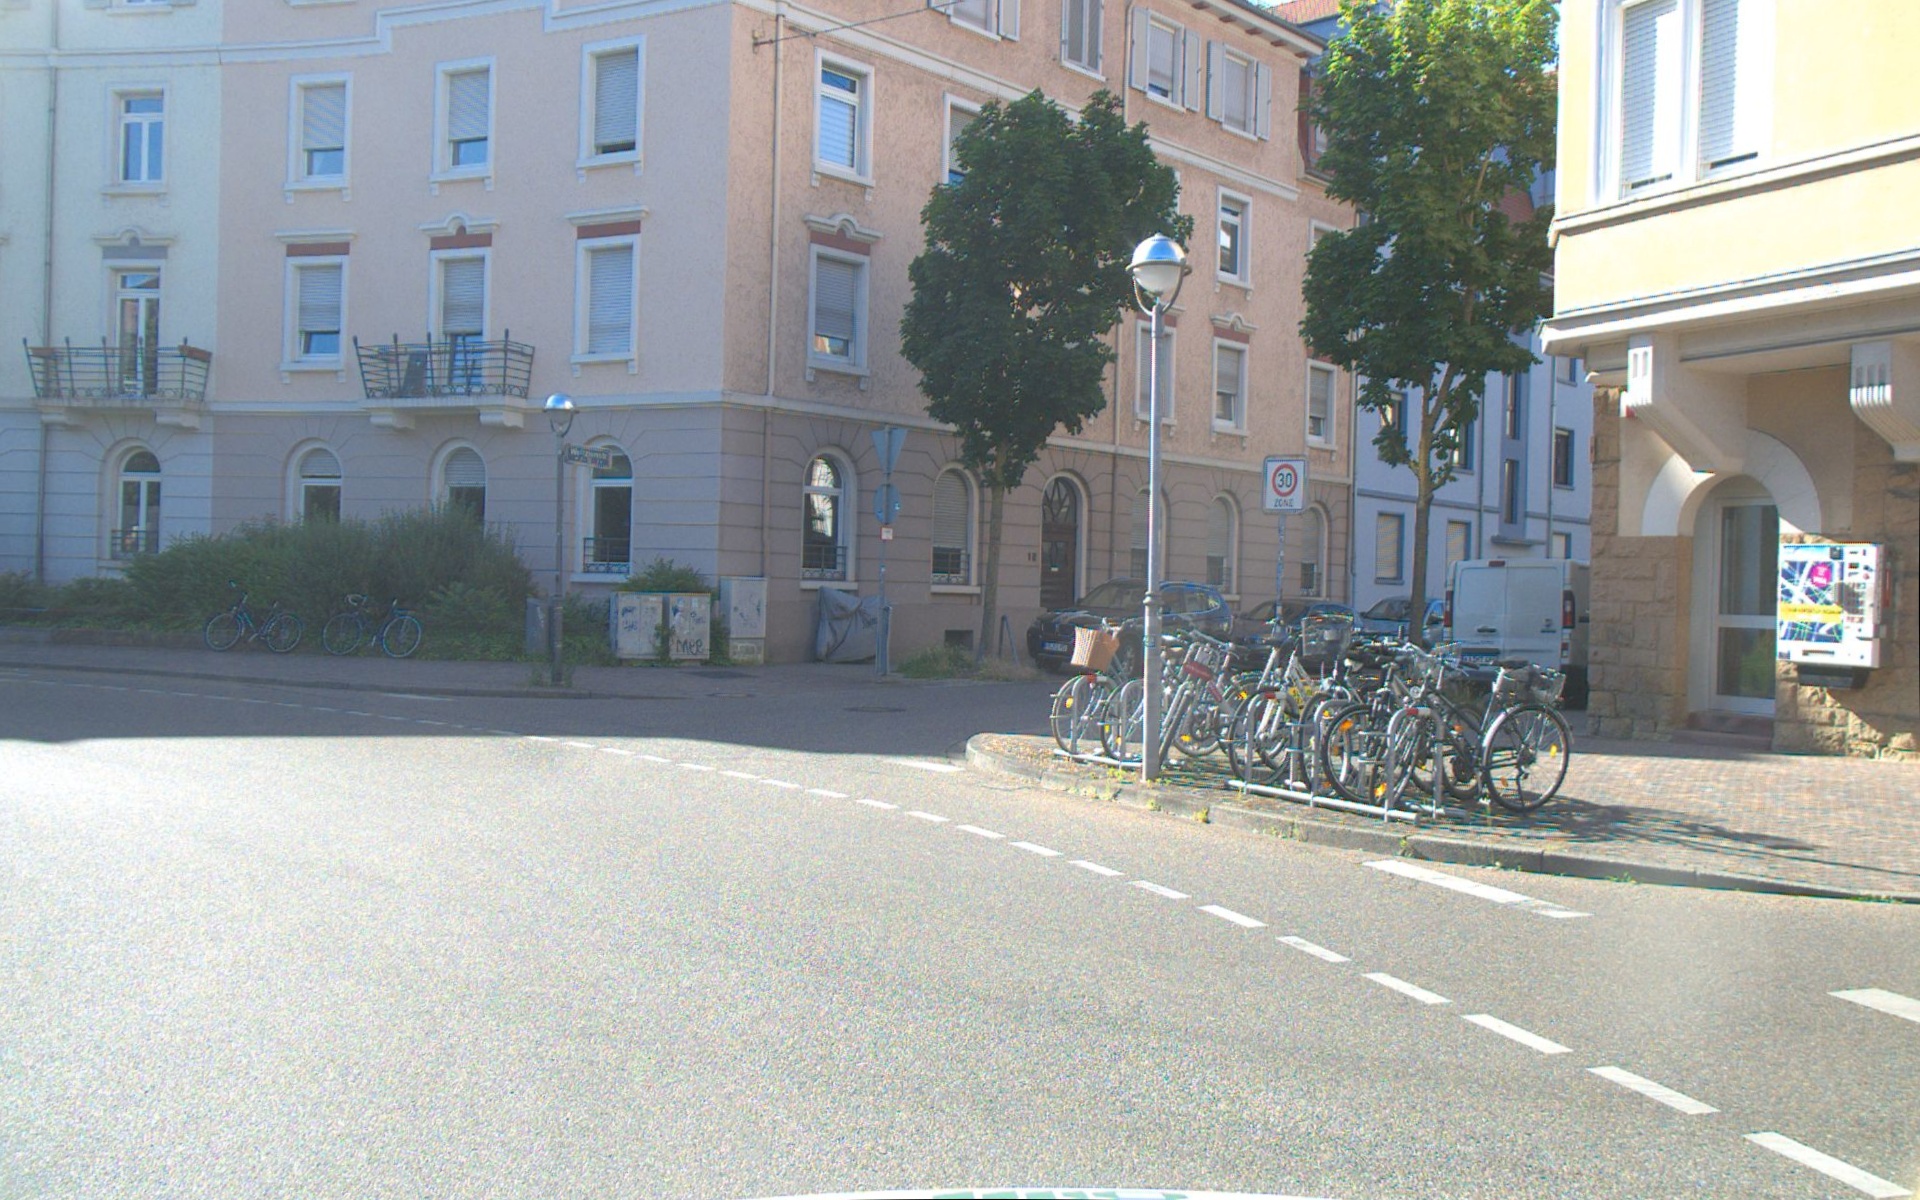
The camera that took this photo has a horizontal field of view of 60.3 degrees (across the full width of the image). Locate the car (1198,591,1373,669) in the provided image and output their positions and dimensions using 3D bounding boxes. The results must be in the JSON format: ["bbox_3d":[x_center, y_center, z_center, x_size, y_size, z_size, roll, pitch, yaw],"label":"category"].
[{"bbox_3d":[6.493,0.590,32.768,1.674,1.436,3.636,1,0,45],"label":"car"}]

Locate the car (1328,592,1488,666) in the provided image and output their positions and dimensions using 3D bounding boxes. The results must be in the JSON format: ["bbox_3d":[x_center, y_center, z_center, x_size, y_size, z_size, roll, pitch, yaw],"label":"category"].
[{"bbox_3d":[9.960,0.637,36.639,1.674,1.512,3.974,1,0,45],"label":"car"}]

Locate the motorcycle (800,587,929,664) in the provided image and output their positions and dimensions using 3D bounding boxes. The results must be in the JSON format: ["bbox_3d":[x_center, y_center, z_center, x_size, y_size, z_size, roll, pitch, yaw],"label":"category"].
[{"bbox_3d":[-1.645,0.427,28.759,0.927,1.241,2.138,3,2,45],"label":"motorcycle"}]

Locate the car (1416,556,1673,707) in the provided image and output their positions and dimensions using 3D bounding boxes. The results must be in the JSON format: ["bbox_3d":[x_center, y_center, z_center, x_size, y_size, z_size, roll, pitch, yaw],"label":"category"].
[{"bbox_3d":[8.461,0.421,23.705,2.101,1.942,4.539,1,0,38],"label":"car"}]

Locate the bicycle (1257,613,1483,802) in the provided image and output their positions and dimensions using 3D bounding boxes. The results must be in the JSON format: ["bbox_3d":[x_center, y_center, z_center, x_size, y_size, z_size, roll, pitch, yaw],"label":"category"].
[{"bbox_3d":[2.814,0.707,11.293,1.674,1.212,0.447,1,0,-32],"label":"bicycle"}]

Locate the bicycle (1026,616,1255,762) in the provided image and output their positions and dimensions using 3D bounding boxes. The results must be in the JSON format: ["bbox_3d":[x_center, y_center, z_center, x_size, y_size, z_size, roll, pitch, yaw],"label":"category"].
[{"bbox_3d":[1.514,0.725,13.788,1.841,1.149,0.693,2,-2,-30],"label":"bicycle"}]

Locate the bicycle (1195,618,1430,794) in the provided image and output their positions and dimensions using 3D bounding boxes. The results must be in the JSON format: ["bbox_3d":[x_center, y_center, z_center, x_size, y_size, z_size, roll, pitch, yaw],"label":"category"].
[{"bbox_3d":[2.518,0.725,11.760,1.674,1.165,0.610,1,0,-32],"label":"bicycle"}]

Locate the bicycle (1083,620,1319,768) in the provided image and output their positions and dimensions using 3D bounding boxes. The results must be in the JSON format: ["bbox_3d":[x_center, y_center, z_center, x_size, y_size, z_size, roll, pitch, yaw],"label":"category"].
[{"bbox_3d":[1.922,0.733,13.138,1.848,1.109,0.532,1,0,-24],"label":"bicycle"}]

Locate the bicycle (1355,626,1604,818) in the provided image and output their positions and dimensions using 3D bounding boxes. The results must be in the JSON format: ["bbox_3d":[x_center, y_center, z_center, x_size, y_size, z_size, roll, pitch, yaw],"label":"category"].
[{"bbox_3d":[3.328,0.749,10.543,1.694,1.143,0.479,1,0,-29],"label":"bicycle"}]

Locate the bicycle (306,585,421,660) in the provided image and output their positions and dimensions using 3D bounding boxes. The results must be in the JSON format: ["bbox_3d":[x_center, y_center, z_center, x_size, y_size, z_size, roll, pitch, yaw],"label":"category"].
[{"bbox_3d":[-9.240,0.341,25.637,1.645,1.107,0.503,1,2,11],"label":"bicycle"}]

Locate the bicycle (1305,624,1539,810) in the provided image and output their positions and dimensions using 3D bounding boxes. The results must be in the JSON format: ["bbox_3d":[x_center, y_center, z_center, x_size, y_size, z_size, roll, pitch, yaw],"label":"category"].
[{"bbox_3d":[3.073,0.743,10.933,1.674,1.143,0.478,1,0,-32],"label":"bicycle"}]

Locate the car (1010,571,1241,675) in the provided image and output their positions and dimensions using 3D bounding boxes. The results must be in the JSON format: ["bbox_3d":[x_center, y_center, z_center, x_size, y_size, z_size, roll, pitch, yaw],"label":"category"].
[{"bbox_3d":[2.974,0.400,29.053,1.875,1.670,4.322,1,0,41],"label":"car"}]

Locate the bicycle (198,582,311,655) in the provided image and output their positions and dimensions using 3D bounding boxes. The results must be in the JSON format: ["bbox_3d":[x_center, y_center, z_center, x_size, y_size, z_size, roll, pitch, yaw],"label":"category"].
[{"bbox_3d":[-11.185,0.286,26.240,1.645,1.107,0.503,1,2,11],"label":"bicycle"}]

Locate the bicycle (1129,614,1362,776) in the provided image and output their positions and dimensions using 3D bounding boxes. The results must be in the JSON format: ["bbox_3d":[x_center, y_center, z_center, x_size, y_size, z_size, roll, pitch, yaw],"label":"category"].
[{"bbox_3d":[2.177,0.704,12.577,1.668,1.165,0.633,1,0,-24],"label":"bicycle"}]
